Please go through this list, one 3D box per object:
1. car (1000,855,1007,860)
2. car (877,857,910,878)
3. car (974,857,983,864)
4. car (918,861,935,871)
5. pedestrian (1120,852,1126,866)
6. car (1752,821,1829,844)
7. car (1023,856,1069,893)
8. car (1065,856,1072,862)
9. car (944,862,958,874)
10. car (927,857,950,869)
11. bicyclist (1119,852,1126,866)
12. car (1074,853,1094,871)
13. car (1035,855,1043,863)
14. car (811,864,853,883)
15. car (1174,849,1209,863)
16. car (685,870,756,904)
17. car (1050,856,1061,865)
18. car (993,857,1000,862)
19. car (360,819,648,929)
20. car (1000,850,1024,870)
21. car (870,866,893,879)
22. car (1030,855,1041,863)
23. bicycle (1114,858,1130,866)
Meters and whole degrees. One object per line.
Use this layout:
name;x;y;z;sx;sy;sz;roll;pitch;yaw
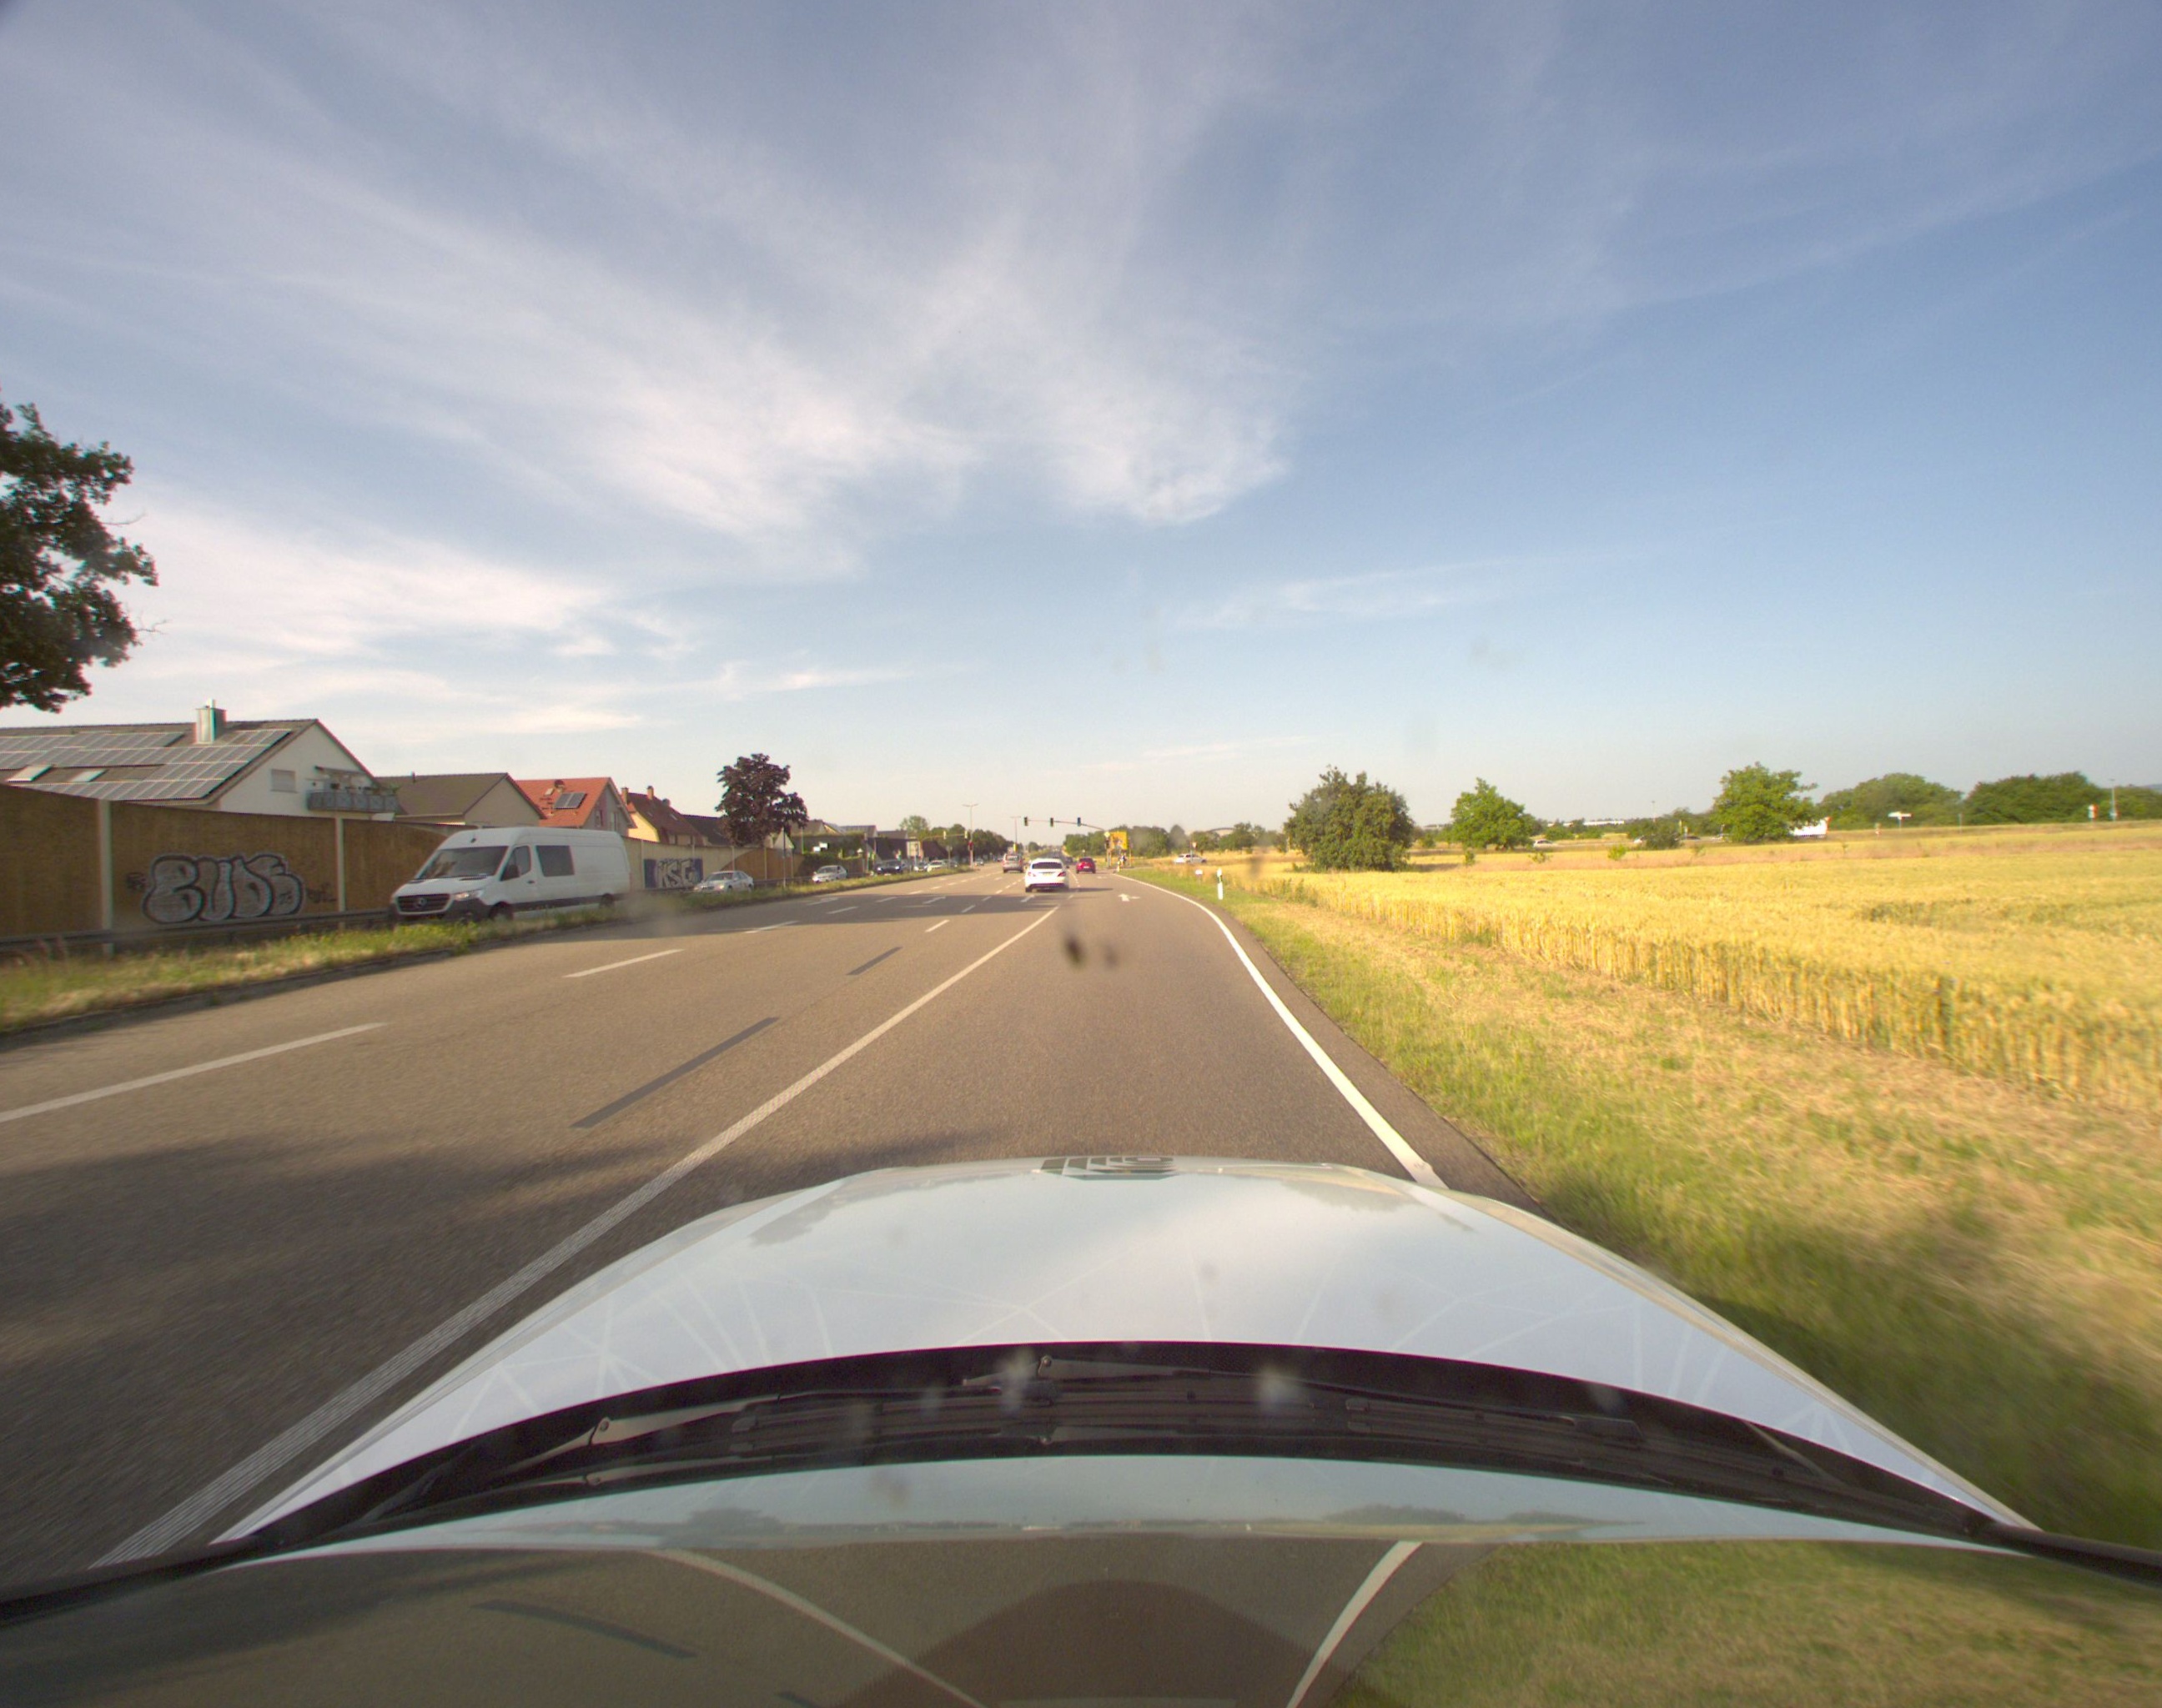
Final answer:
car;-24.218;1.048;254.760;1.730;1.574;3.701;0;0;-2
car;-15.519;1.096;67.661;1.726;1.625;4.919;0;0;-2
car;-22.365;1.338;177.509;1.781;1.437;4.350;0;0;-5
car;-20.121;1.513;106.223;1.680;1.286;3.144;0;0;-2
pedestrian;5.166;0.595;100.550;0.708;1.751;0.863;0;0;0
car;87.530;-2.628;100.601;6.972;2.795;2.326;0;0;10
car;-1.505;0.847;35.781;1.889;1.509;3.997;-1;0;-2
car;-2.845;1.076;182.278;1.435;1.284;2.913;0;0;-1
car;-20.977;2.233;131.809;1.771;1.751;3.997;0;0;-2
car;-15.726;1.002;90.137;1.868;1.321;4.710;0;0;-2
bicyclist;5.254;0.594;102.504;0.845;1.756;0.798;0;0;-1
car;0.244;0.710;74.813;1.749;1.517;3.998;-2;0;-1
car;-9.621;1.129;185.053;1.773;1.665;3.657;0;0;-5
car;-18.654;1.444;61.114;1.775;1.322;4.603;0;0;-1
car;13.768;0.245;101.407;4.015;1.598;1.841;0;0;-34
car;-18.723;1.655;42.533;1.646;1.567;4.710;0;0;-1
car;-4.852;1.205;154.493;1.833;1.684;4.001;0;0;1
car;-23.866;1.556;230.659;1.730;1.574;3.701;0;0;-2
car;-13.988;0.412;20.657;2.342;2.303;7.185;0;0;-2
car;-6.777;0.606;80.845;2.019;1.891;4.957;0;1;-1
car;-19.260;1.746;78.643;1.469;1.164;3.060;0;0;-1
car;-8.384;0.877;150.405;1.712;1.492;3.583;0;0;-1
bicycle;5.167;1.003;102.519;2.088;1.089;0.808;0;0;1
